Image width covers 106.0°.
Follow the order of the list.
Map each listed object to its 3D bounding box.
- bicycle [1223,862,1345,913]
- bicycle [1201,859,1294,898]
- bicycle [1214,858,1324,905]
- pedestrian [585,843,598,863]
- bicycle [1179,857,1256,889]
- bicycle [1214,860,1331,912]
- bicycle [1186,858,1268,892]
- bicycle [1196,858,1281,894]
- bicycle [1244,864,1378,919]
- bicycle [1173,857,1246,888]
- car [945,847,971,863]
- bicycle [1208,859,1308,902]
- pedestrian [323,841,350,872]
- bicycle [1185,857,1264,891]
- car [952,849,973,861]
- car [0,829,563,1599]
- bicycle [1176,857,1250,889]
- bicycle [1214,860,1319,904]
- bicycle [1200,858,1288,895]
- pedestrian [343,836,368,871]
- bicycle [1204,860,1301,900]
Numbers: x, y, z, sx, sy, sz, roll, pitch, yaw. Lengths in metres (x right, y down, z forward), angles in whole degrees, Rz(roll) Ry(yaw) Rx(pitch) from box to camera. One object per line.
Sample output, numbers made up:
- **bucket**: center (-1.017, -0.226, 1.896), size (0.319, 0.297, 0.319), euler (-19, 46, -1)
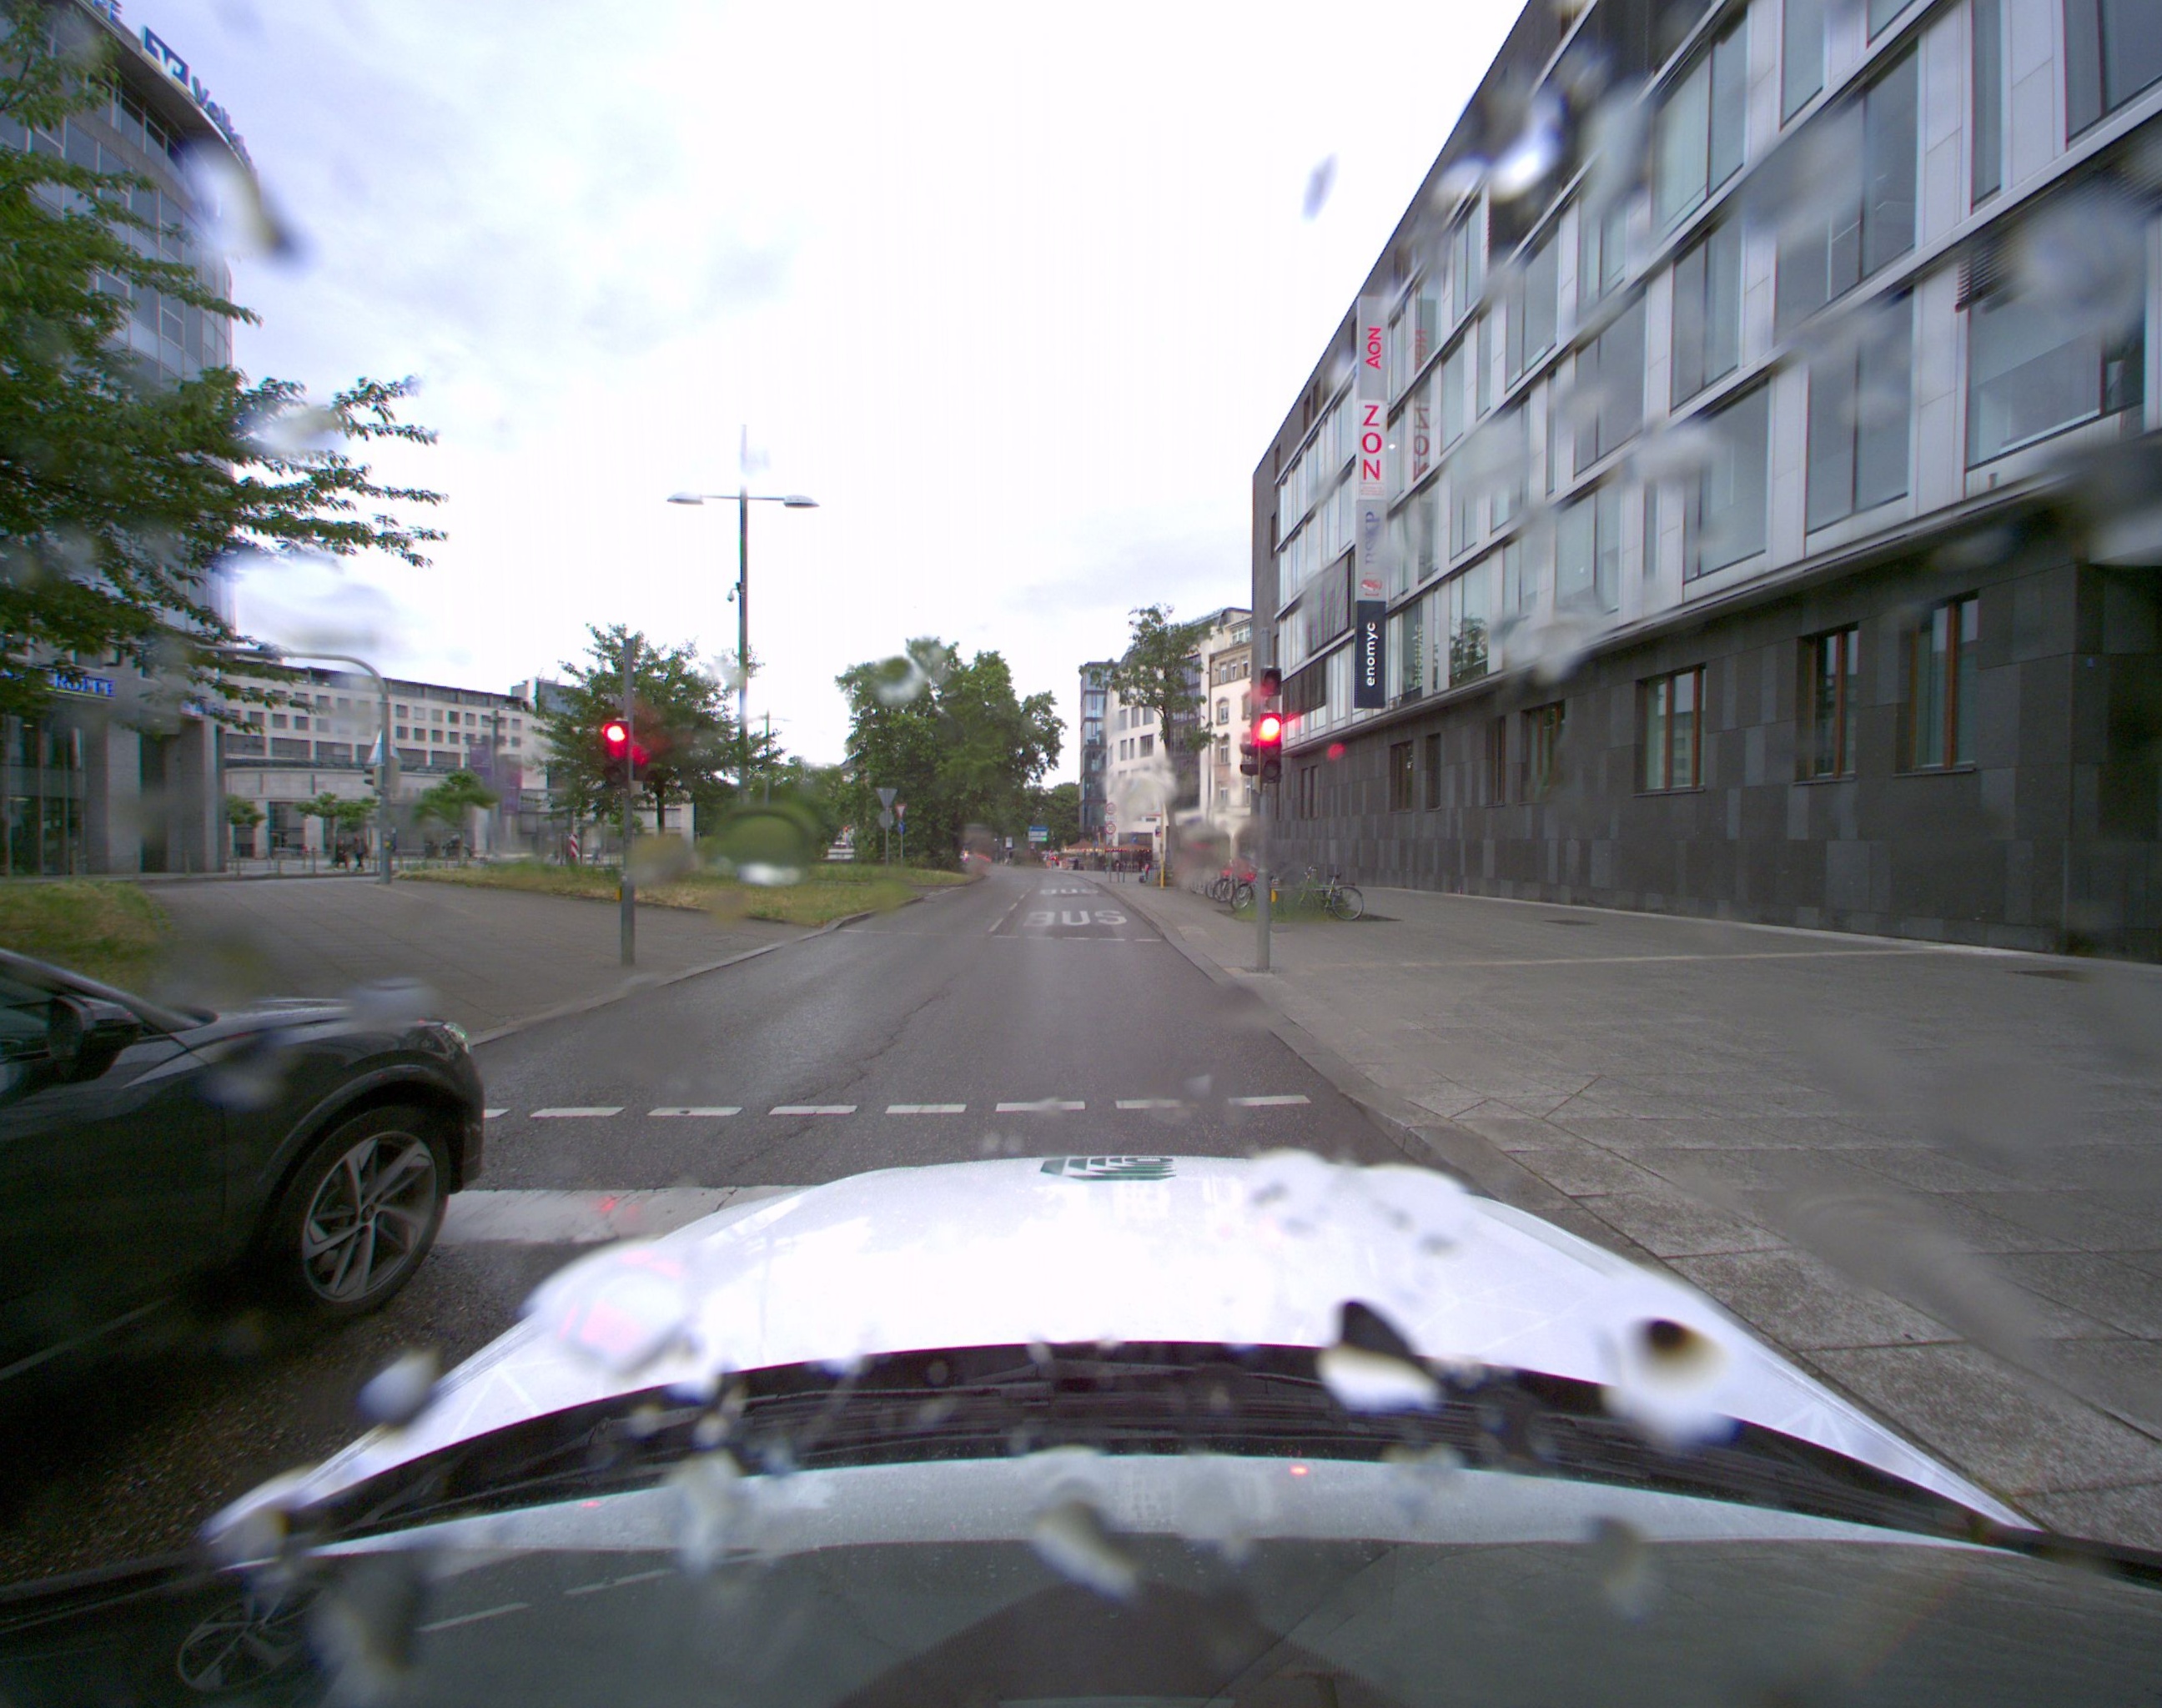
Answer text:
- **bicycle**: center (4.452, 0.721, 17.973), size (2.530, 1.087, 0.677), euler (0, 0, -3)
- **bicycle**: center (4.785, 0.690, 23.439), size (2.530, 1.087, 0.677), euler (-1, 0, -3)
- **bicycle**: center (4.598, 0.668, 20.000), size (2.530, 1.087, 0.677), euler (-1, 0, -3)
- **pedestrian**: center (-51.023, -0.087, 84.860), size (0.785, 2.014, 0.741), euler (2, 0, 3)
- **bicycle**: center (4.686, 0.648, 28.100), size (2.530, 1.087, 0.677), euler (-1, 0, -3)
- **bicycle**: center (4.401, 0.725, 18.778), size (2.530, 1.087, 0.677), euler (2, 0, -3)
- **bicycle**: center (4.723, 0.675, 26.457), size (2.530, 1.087, 0.677), euler (-1, 0, -3)
- **bicycle**: center (4.935, 0.674, 25.612), size (2.530, 1.087, 0.677), euler (-1, 0, -3)
- **bicycle**: center (4.632, 0.751, 16.490), size (2.530, 1.057, 0.677), euler (0, 0, -3)
- **bicycle**: center (4.651, 0.671, 29.571), size (2.530, 1.087, 0.627), euler (-1, 0, -3)
- **car**: center (-14.619, 0.139, 96.591), size (2.001, 1.647, 3.972), euler (4, 0, -22)
- **bicycle**: center (4.694, 0.703, 21.664), size (2.530, 1.087, 0.677), euler (-1, 0, -3)
- **pedestrian**: center (-37.708, 0.125, 41.264), size (0.730, 1.516, 0.687), euler (-2, 0, -19)
- **bicycle**: center (4.782, 0.659, 27.208), size (2.530, 1.087, 0.677), euler (-1, 0, -3)
- **car**: center (-17.034, 0.157, 117.135), size (2.170, 1.700, 4.002), euler (0, 0, 2)
- **car**: center (-3.176, 0.747, 1.417), size (1.842, 1.616, 4.251), euler (1, 1, -1)
- **bicycle**: center (4.663, 0.661, 28.849), size (2.530, 1.087, 0.677), euler (-1, 0, -3)
- **bicycle**: center (4.725, 0.707, 20.852), size (2.530, 1.087, 0.677), euler (-1, 0, -3)
- **bicycle**: center (4.915, 0.675, 24.633), size (2.530, 1.087, 0.677), euler (-1, 0, -3)
- **pedestrian**: center (-36.940, -0.026, 41.467), size (0.621, 1.763, 0.722), euler (-2, 0, -16)
- **bicycle**: center (4.727, 0.705, 22.531), size (2.530, 1.060, 0.677), euler (-1, 0, -3)
